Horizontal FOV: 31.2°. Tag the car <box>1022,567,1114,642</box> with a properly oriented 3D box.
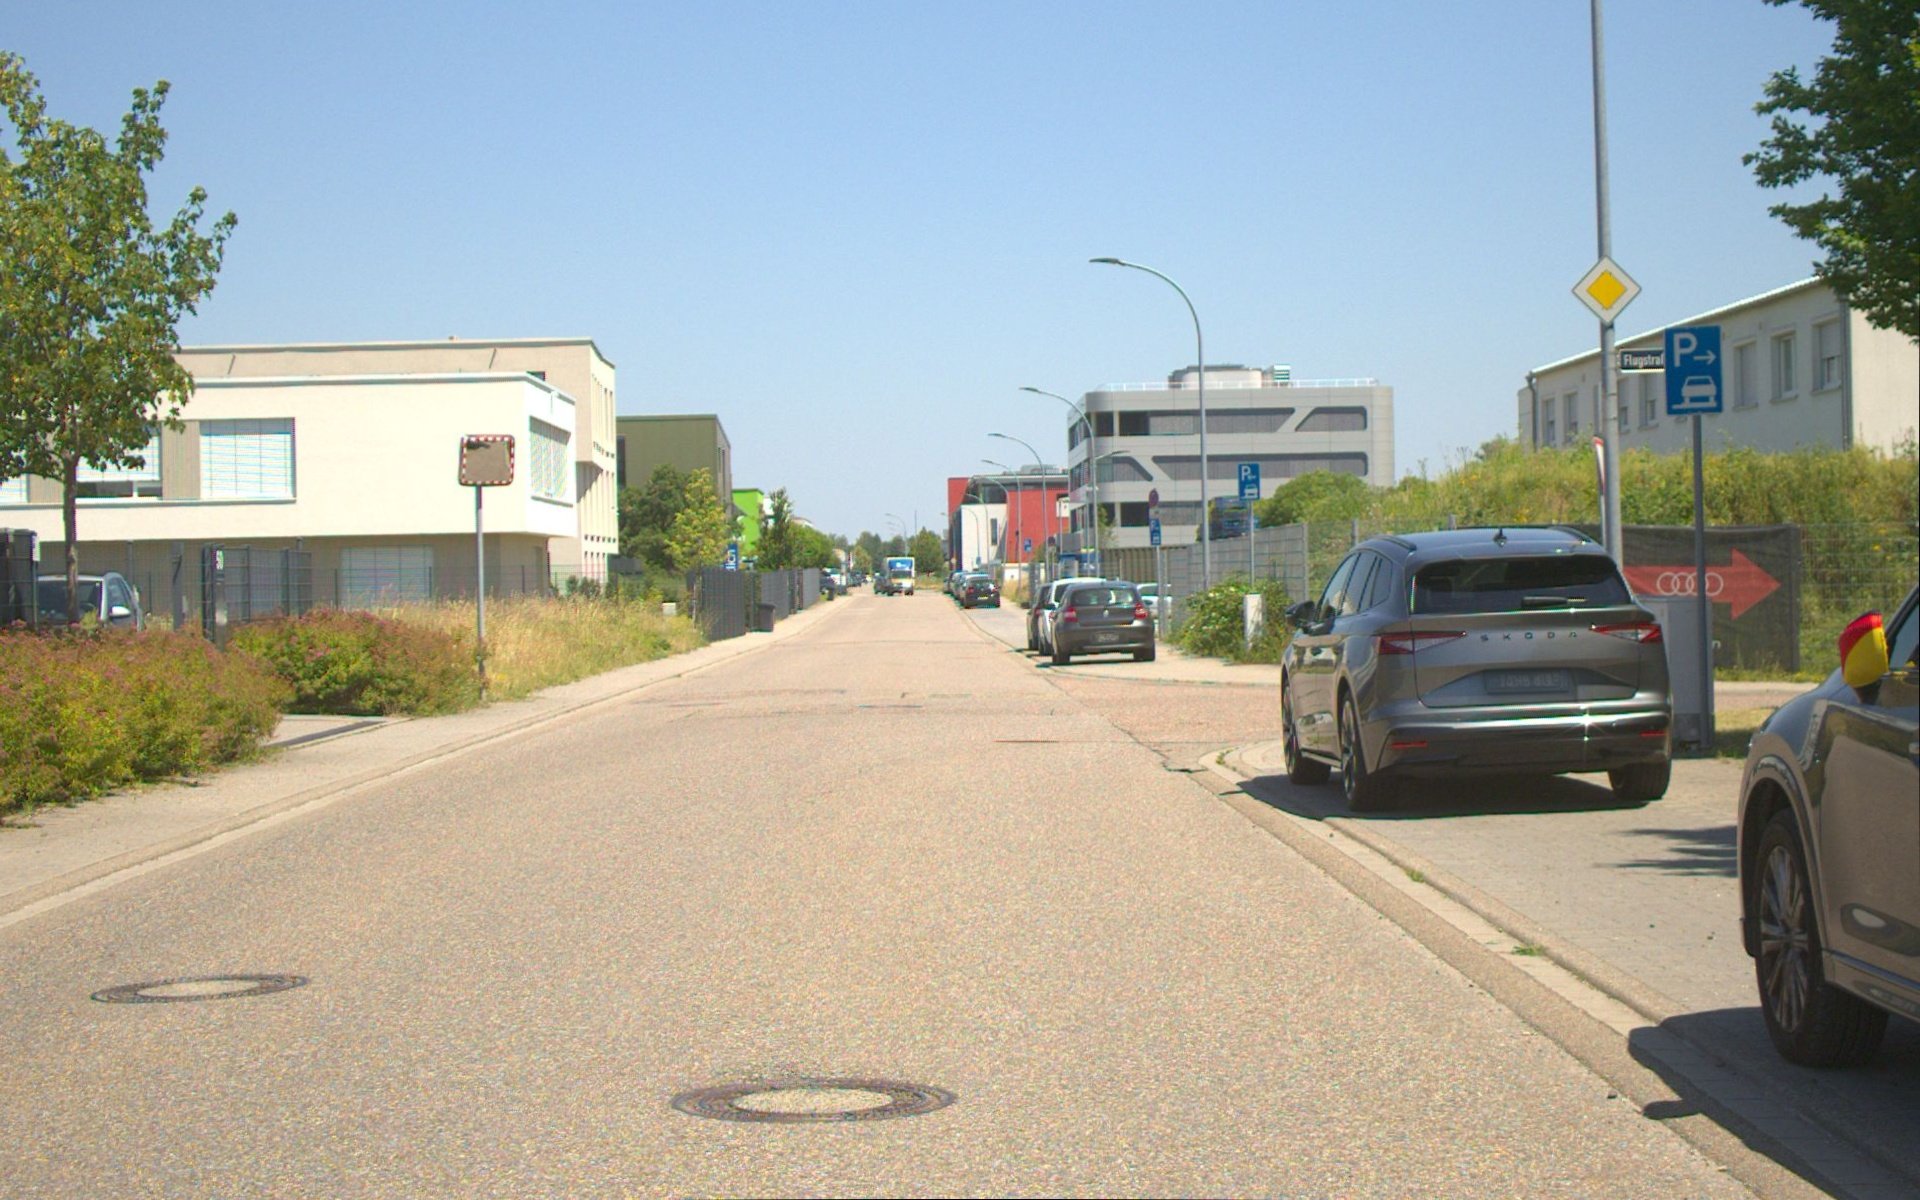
[{"bbox_3d":[2.386,0.078,75.841,1.908,1.541,4.000,-3,0,2],"label":"car"}]

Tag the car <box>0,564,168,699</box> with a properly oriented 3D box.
[{"bbox_3d":[-10.491,0.342,40.620,1.700,1.515,2.998,-1,1,-3],"label":"car"}]

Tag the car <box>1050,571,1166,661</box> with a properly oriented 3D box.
[{"bbox_3d":[2.583,0.263,60.470,1.908,1.443,4.000,-3,0,2],"label":"car"}]

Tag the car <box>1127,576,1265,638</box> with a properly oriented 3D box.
[{"bbox_3d":[8.053,0.234,117.583,4.625,2.007,2.606,1,0,3],"label":"car"}]

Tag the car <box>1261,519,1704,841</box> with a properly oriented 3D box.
[{"bbox_3d":[3.056,0.405,21.071,1.803,1.656,4.608,-3,1,-2],"label":"car"}]

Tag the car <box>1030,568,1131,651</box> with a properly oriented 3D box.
[{"bbox_3d":[2.424,0.164,69.384,1.908,1.541,4.000,-3,0,2],"label":"car"}]

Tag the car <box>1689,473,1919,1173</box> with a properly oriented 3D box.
[{"bbox_3d":[3.118,0.492,8.196,1.757,1.657,4.363,-2,1,0],"label":"car"}]

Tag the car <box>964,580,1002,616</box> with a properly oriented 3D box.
[{"bbox_3d":[1.130,-0.097,171.217,1.776,1.722,4.000,1,0,-1],"label":"car"}]
